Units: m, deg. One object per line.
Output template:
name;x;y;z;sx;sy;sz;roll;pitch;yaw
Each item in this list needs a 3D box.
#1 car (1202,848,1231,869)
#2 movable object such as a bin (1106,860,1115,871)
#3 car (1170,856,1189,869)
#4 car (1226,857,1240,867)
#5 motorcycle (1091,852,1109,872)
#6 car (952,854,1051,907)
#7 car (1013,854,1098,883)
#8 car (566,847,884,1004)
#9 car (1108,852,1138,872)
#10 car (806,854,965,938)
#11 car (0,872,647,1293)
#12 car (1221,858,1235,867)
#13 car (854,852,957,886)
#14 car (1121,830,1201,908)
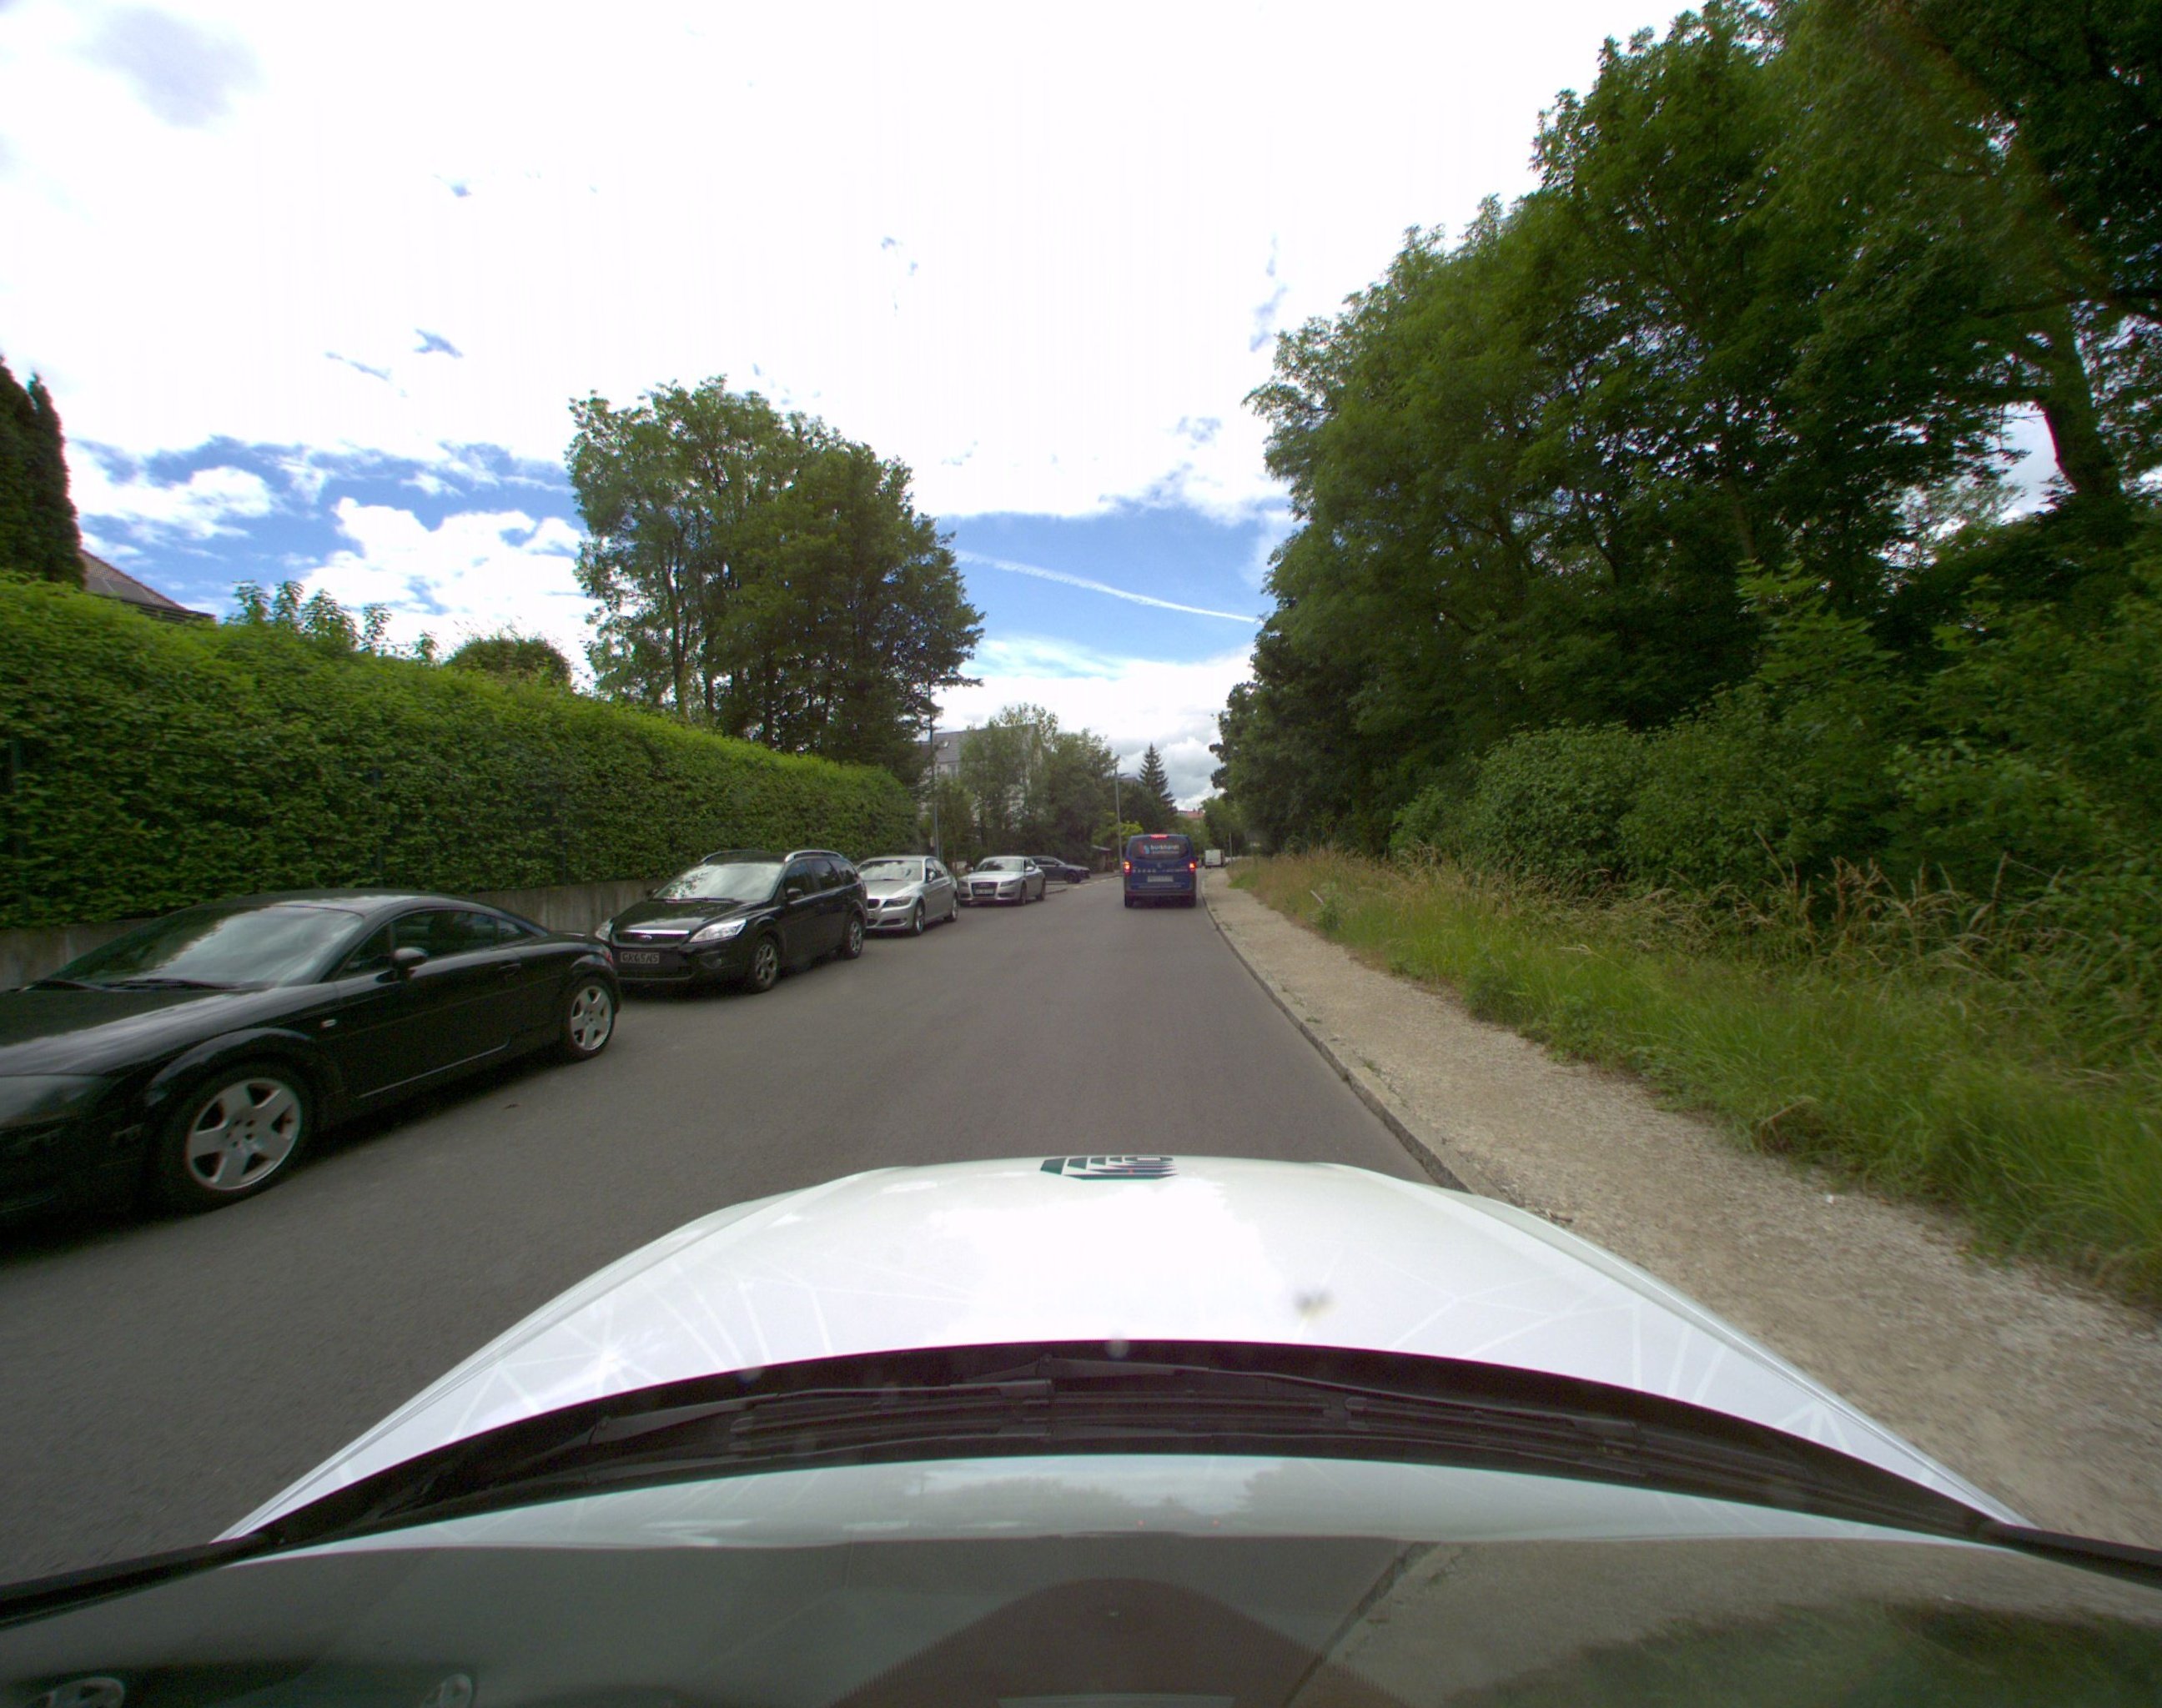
car;14.226;0.488;85.253;2.189;2.063;6.161;-2;0;16
movable object such as a bin;2.457;0.929;67.126;0.586;0.909;0.704;-1;-1;17
car;11.159;0.898;92.037;1.737;1.404;4.013;-1;-1;12
car;23.767;1.249;127.405;1.735;1.404;4.018;-1;-1;17
motorcycle;1.527;0.632;65.166;0.804;1.485;2.906;-1;-1;13
car;-2.206;0.695;23.853;1.821;1.374;4.456;-1;0;8
car;-1.282;0.744;42.096;4.144;1.447;1.744;-1;-1;7
car;-4.062;0.698;10.253;1.648;1.533;4.481;-1;0;6
car;3.244;0.579;62.487;1.694;1.468;4.088;-1;-1;11
car;-3.587;0.706;15.805;1.767;1.374;4.345;-1;0;4
car;-4.515;0.842;4.700;1.705;1.341;4.109;-1;0;2
car;24.326;1.331;134.449;1.735;1.404;4.018;-1;-1;17
car;-9.339;0.799;43.473;4.906;1.670;2.043;-1;-1;9
car;2.233;0.378;22.502;1.926;1.880;4.538;-2;0;6
